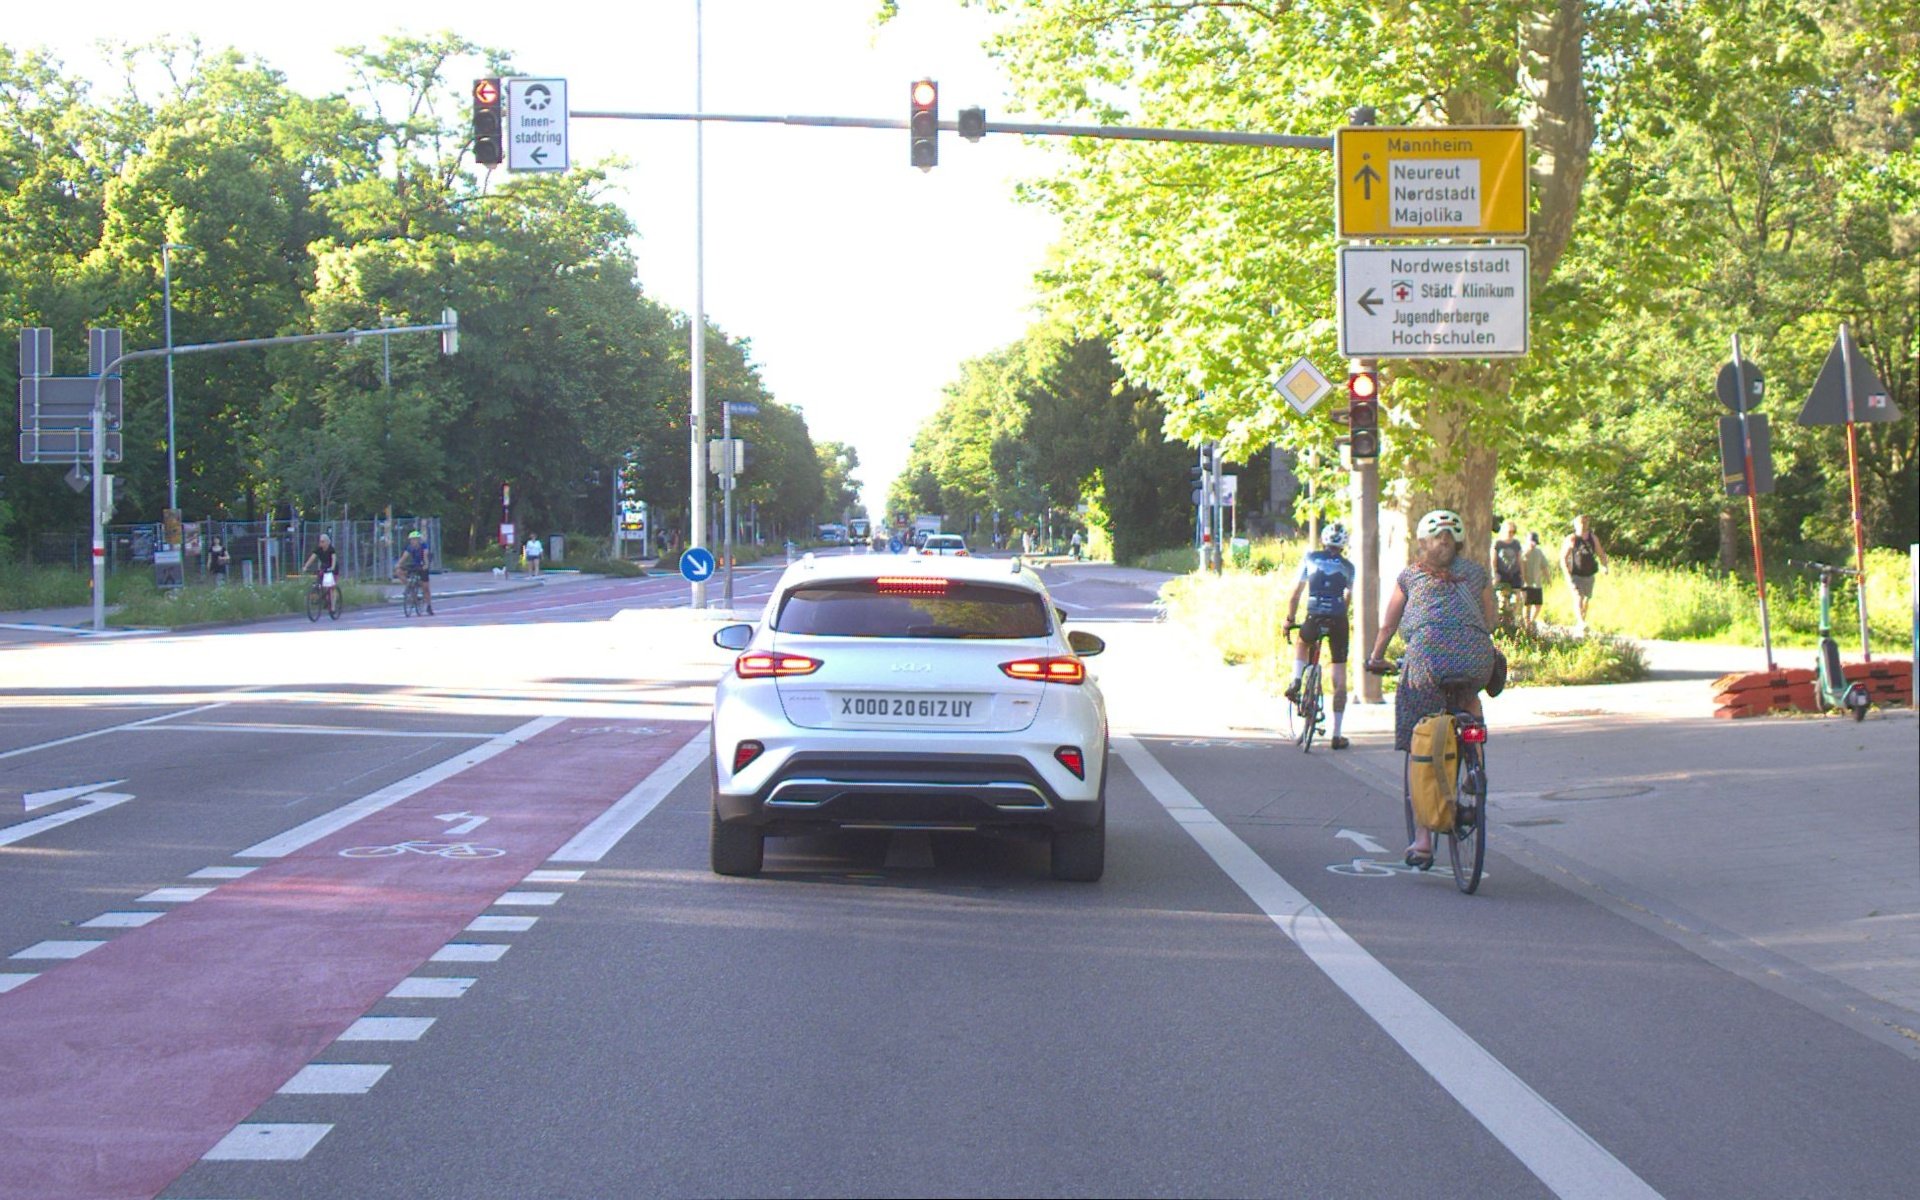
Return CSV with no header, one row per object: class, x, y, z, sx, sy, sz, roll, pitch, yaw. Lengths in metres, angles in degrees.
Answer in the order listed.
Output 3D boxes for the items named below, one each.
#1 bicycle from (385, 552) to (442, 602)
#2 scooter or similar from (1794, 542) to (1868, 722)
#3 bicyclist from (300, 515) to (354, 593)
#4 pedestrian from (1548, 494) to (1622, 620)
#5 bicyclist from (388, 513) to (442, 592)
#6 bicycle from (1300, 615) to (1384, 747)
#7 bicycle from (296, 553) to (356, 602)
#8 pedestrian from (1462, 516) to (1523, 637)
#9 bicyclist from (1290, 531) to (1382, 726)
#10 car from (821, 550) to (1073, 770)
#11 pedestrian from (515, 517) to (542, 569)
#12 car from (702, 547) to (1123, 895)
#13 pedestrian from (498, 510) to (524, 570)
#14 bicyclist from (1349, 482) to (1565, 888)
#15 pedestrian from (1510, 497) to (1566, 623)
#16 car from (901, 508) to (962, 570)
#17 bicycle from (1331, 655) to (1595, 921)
bicycle,-11.270,-0.481,71.010,0.663,0.985,2.504,-1,1,2
scooter or similar,6.567,0.225,25.943,0.228,1.322,1.172,-1,1,-1
bicyclist,-13.202,-0.971,71.728,0.875,1.601,0.977,-1,1,4
pedestrian,8.934,-0.617,49.133,0.817,1.765,0.832,-1,1,-6
bicyclist,-11.273,-0.980,71.126,0.875,1.603,1.188,-1,1,2
bicycle,2.955,0.614,26.653,0.401,0.953,1.551,-3,1,-1
bicycle,-13.200,-0.479,71.665,0.579,0.985,2.714,-1,1,4
pedestrian,7.512,-0.338,48.541,0.689,1.693,0.644,-1,1,-6
bicyclist,2.927,0.217,26.822,0.554,1.473,0.717,-3,1,-1
car,-0.130,0.391,25.557,1.728,1.478,3.517,-1,1,-1
pedestrian,-14.642,-1.933,116.711,0.785,1.779,0.751,1,0,1
car,-0.246,0.499,16.925,1.821,1.475,3.937,0,1,-1
pedestrian,-15.084,-2.013,115.571,0.641,2.007,0.753,1,0,11
bicyclist,2.281,0.369,15.913,0.753,1.789,1.165,2,1,-1
pedestrian,8.200,-0.567,48.804,0.615,1.765,0.647,-1,1,-6
car,-0.941,-2.056,115.670,1.993,2.007,4.000,-1,1,0
bicycle,2.268,0.816,15.845,0.758,1.009,2.570,2,1,-1
